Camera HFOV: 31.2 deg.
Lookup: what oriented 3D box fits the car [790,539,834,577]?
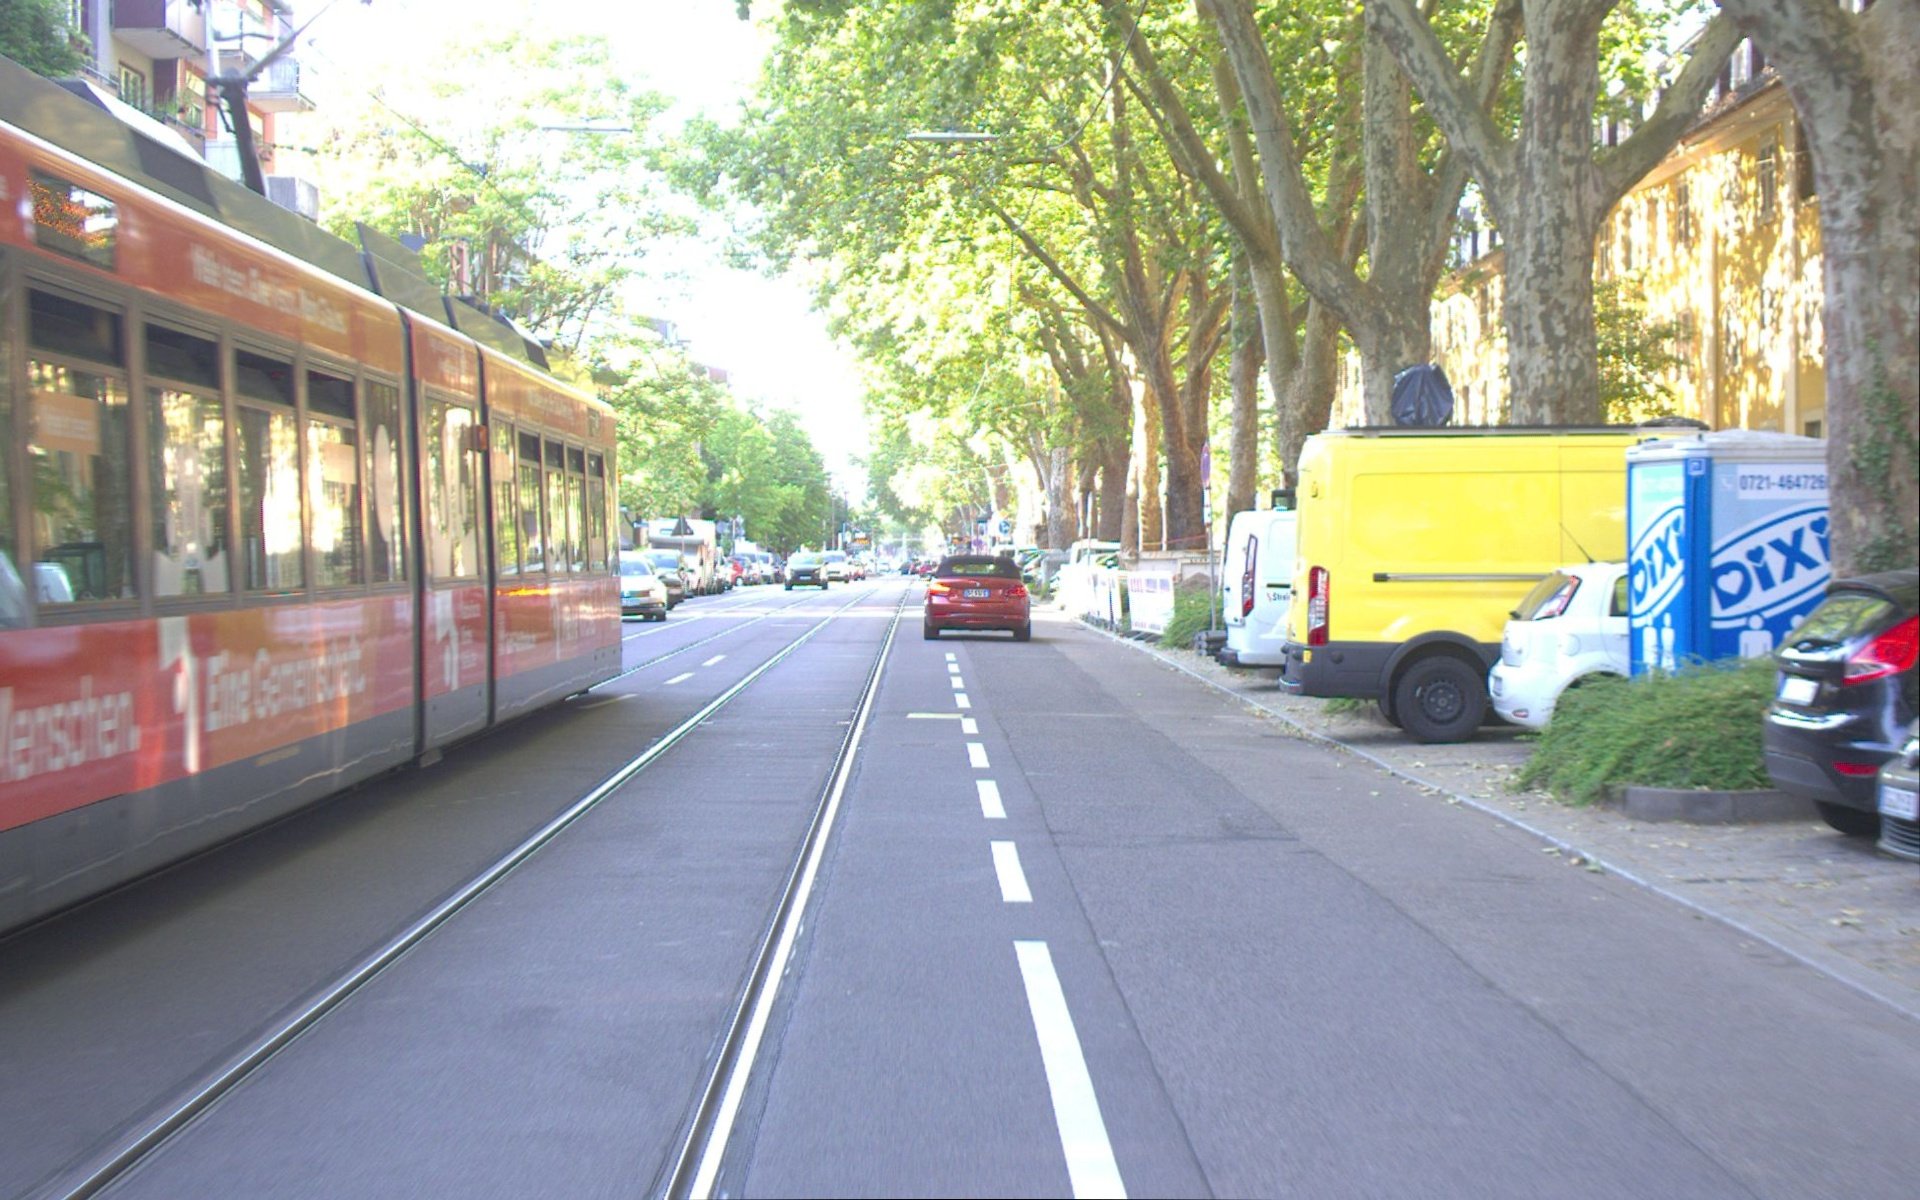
[{"bbox_3d":[-6.538,-1.877,152.161,1.853,1.595,4.464,2,1,-1],"label":"car"}]

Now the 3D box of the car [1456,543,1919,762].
[{"bbox_3d":[5.774,0.359,25.562,3.906,1.484,1.863,-1,1,2],"label":"car"}]

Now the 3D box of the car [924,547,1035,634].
[{"bbox_3d":[0.317,-0.182,57.650,1.792,1.384,4.236,0,1,0],"label":"car"}]

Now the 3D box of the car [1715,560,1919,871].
[{"bbox_3d":[5.863,0.492,17.303,3.652,1.422,1.738,-2,1,-4],"label":"car"}]

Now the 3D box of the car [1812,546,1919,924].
[{"bbox_3d":[5.954,0.482,14.763,4.076,1.544,1.831,-2,1,-1],"label":"car"}]

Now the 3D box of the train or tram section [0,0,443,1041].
[{"bbox_3d":[-4.525,-0.396,14.082,2.908,3.474,13.370,-1,1,-1],"label":"train or tram section"}]

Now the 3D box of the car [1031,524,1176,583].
[{"bbox_3d":[4.946,-1.608,118.919,4.835,1.956,2.065,-1,1,-3],"label":"car"}]

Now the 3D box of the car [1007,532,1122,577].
[{"bbox_3d":[4.203,-1.840,138.185,4.497,1.596,2.027,-3,1,4],"label":"car"}]

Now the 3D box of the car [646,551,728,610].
[{"bbox_3d":[-7.097,-0.526,89.694,1.796,1.441,4.053,-2,1,0],"label":"car"}]

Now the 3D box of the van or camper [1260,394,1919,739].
[{"bbox_3d":[5.543,-0.272,28.373,5.926,2.620,2.270,-1,0,2],"label":"van or camper"}]

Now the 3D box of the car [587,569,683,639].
[{"bbox_3d":[-7.177,0.060,76.202,1.795,1.441,4.717,1,1,-2],"label":"car"}]

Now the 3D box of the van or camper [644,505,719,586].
[{"bbox_3d":[-11.028,-2.161,136.659,2.337,3.030,6.397,2,1,0],"label":"van or camper"}]

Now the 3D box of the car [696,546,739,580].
[{"bbox_3d":[-11.275,-1.719,159.880,1.836,1.463,5.070,2,1,-3],"label":"car"}]

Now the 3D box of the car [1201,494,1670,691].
[{"bbox_3d":[5.182,-0.106,37.963,4.834,2.006,2.064,-1,1,0],"label":"car"}]

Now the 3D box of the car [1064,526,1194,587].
[{"bbox_3d":[5.094,-1.304,103.427,3.844,1.766,1.916,-1,1,4],"label":"car"}]

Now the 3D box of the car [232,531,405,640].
[{"bbox_3d":[-10.165,-0.244,54.811,1.952,1.643,4.882,1,1,-2],"label":"car"}]

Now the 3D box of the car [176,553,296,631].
[{"bbox_3d":[-20.261,-0.227,96.128,1.993,2.116,4.723,0,0,-29],"label":"car"}]

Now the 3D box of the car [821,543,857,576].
[{"bbox_3d":[-6.871,-2.321,195.141,1.891,1.826,4.896,-1,1,-1],"label":"car"}]

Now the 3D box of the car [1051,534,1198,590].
[{"bbox_3d":[4.723,-1.093,99.147,4.087,1.516,1.917,-1,0,-1],"label":"car"}]

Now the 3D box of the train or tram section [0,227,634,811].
[{"bbox_3d":[-4.701,-0.613,27.805,2.908,3.474,14.199,-1,1,-1],"label":"train or tram section"}]
